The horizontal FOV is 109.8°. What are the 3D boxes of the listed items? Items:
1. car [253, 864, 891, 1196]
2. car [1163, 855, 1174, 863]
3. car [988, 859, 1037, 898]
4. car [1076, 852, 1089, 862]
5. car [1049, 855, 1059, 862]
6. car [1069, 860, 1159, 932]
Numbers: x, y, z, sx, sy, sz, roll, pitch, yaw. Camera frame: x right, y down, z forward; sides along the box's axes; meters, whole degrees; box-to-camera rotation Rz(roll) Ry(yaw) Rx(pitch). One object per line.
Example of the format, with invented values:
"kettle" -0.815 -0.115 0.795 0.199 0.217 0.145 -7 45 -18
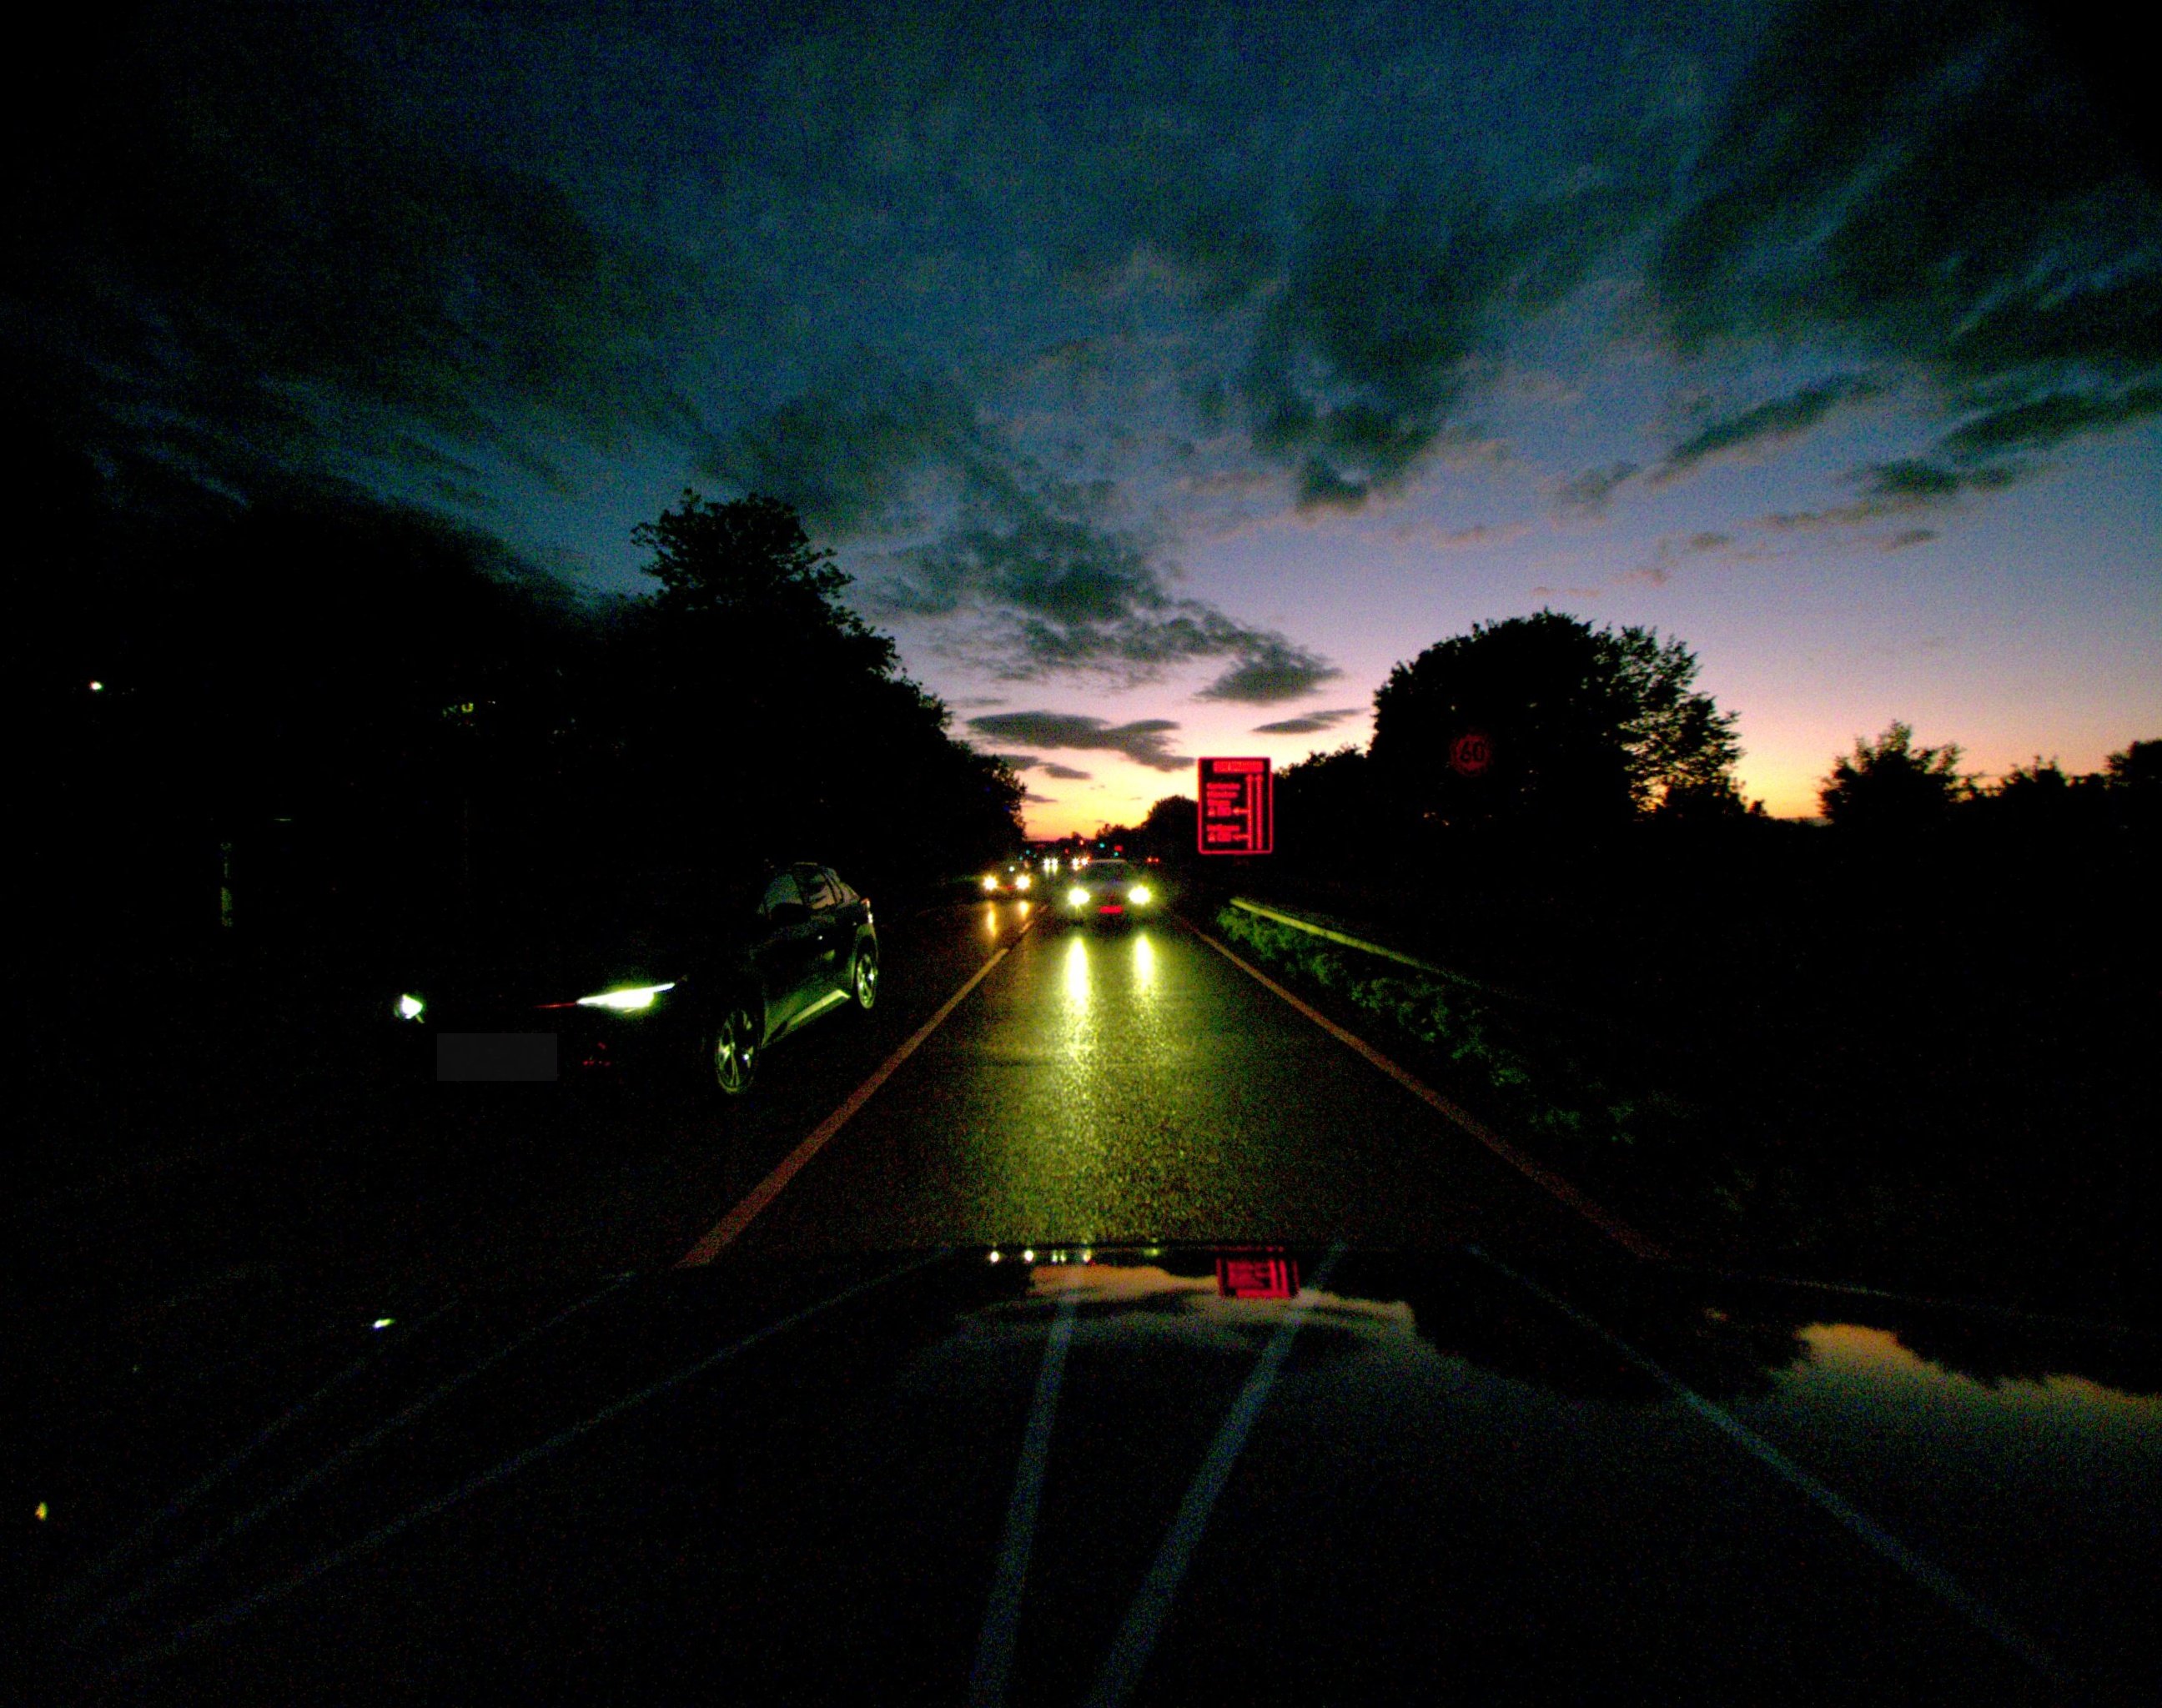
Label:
"car" -3.218 0.942 6.275 1.998 1.600 4.711 -2 0 1
"car" 18.164 0.971 156.818 1.797 1.661 4.506 -1 0 12
"car" -2.794 0.985 31.752 1.624 1.460 3.871 -2 0 1
"car" 0.196 0.462 127.589 1.999 1.602 4.501 -1 0 -1
"car" -5.324 0.825 149.469 1.999 1.423 4.501 0 0 -1
"car" 0.709 0.919 18.704 1.901 1.472 4.514 -2 0 0
